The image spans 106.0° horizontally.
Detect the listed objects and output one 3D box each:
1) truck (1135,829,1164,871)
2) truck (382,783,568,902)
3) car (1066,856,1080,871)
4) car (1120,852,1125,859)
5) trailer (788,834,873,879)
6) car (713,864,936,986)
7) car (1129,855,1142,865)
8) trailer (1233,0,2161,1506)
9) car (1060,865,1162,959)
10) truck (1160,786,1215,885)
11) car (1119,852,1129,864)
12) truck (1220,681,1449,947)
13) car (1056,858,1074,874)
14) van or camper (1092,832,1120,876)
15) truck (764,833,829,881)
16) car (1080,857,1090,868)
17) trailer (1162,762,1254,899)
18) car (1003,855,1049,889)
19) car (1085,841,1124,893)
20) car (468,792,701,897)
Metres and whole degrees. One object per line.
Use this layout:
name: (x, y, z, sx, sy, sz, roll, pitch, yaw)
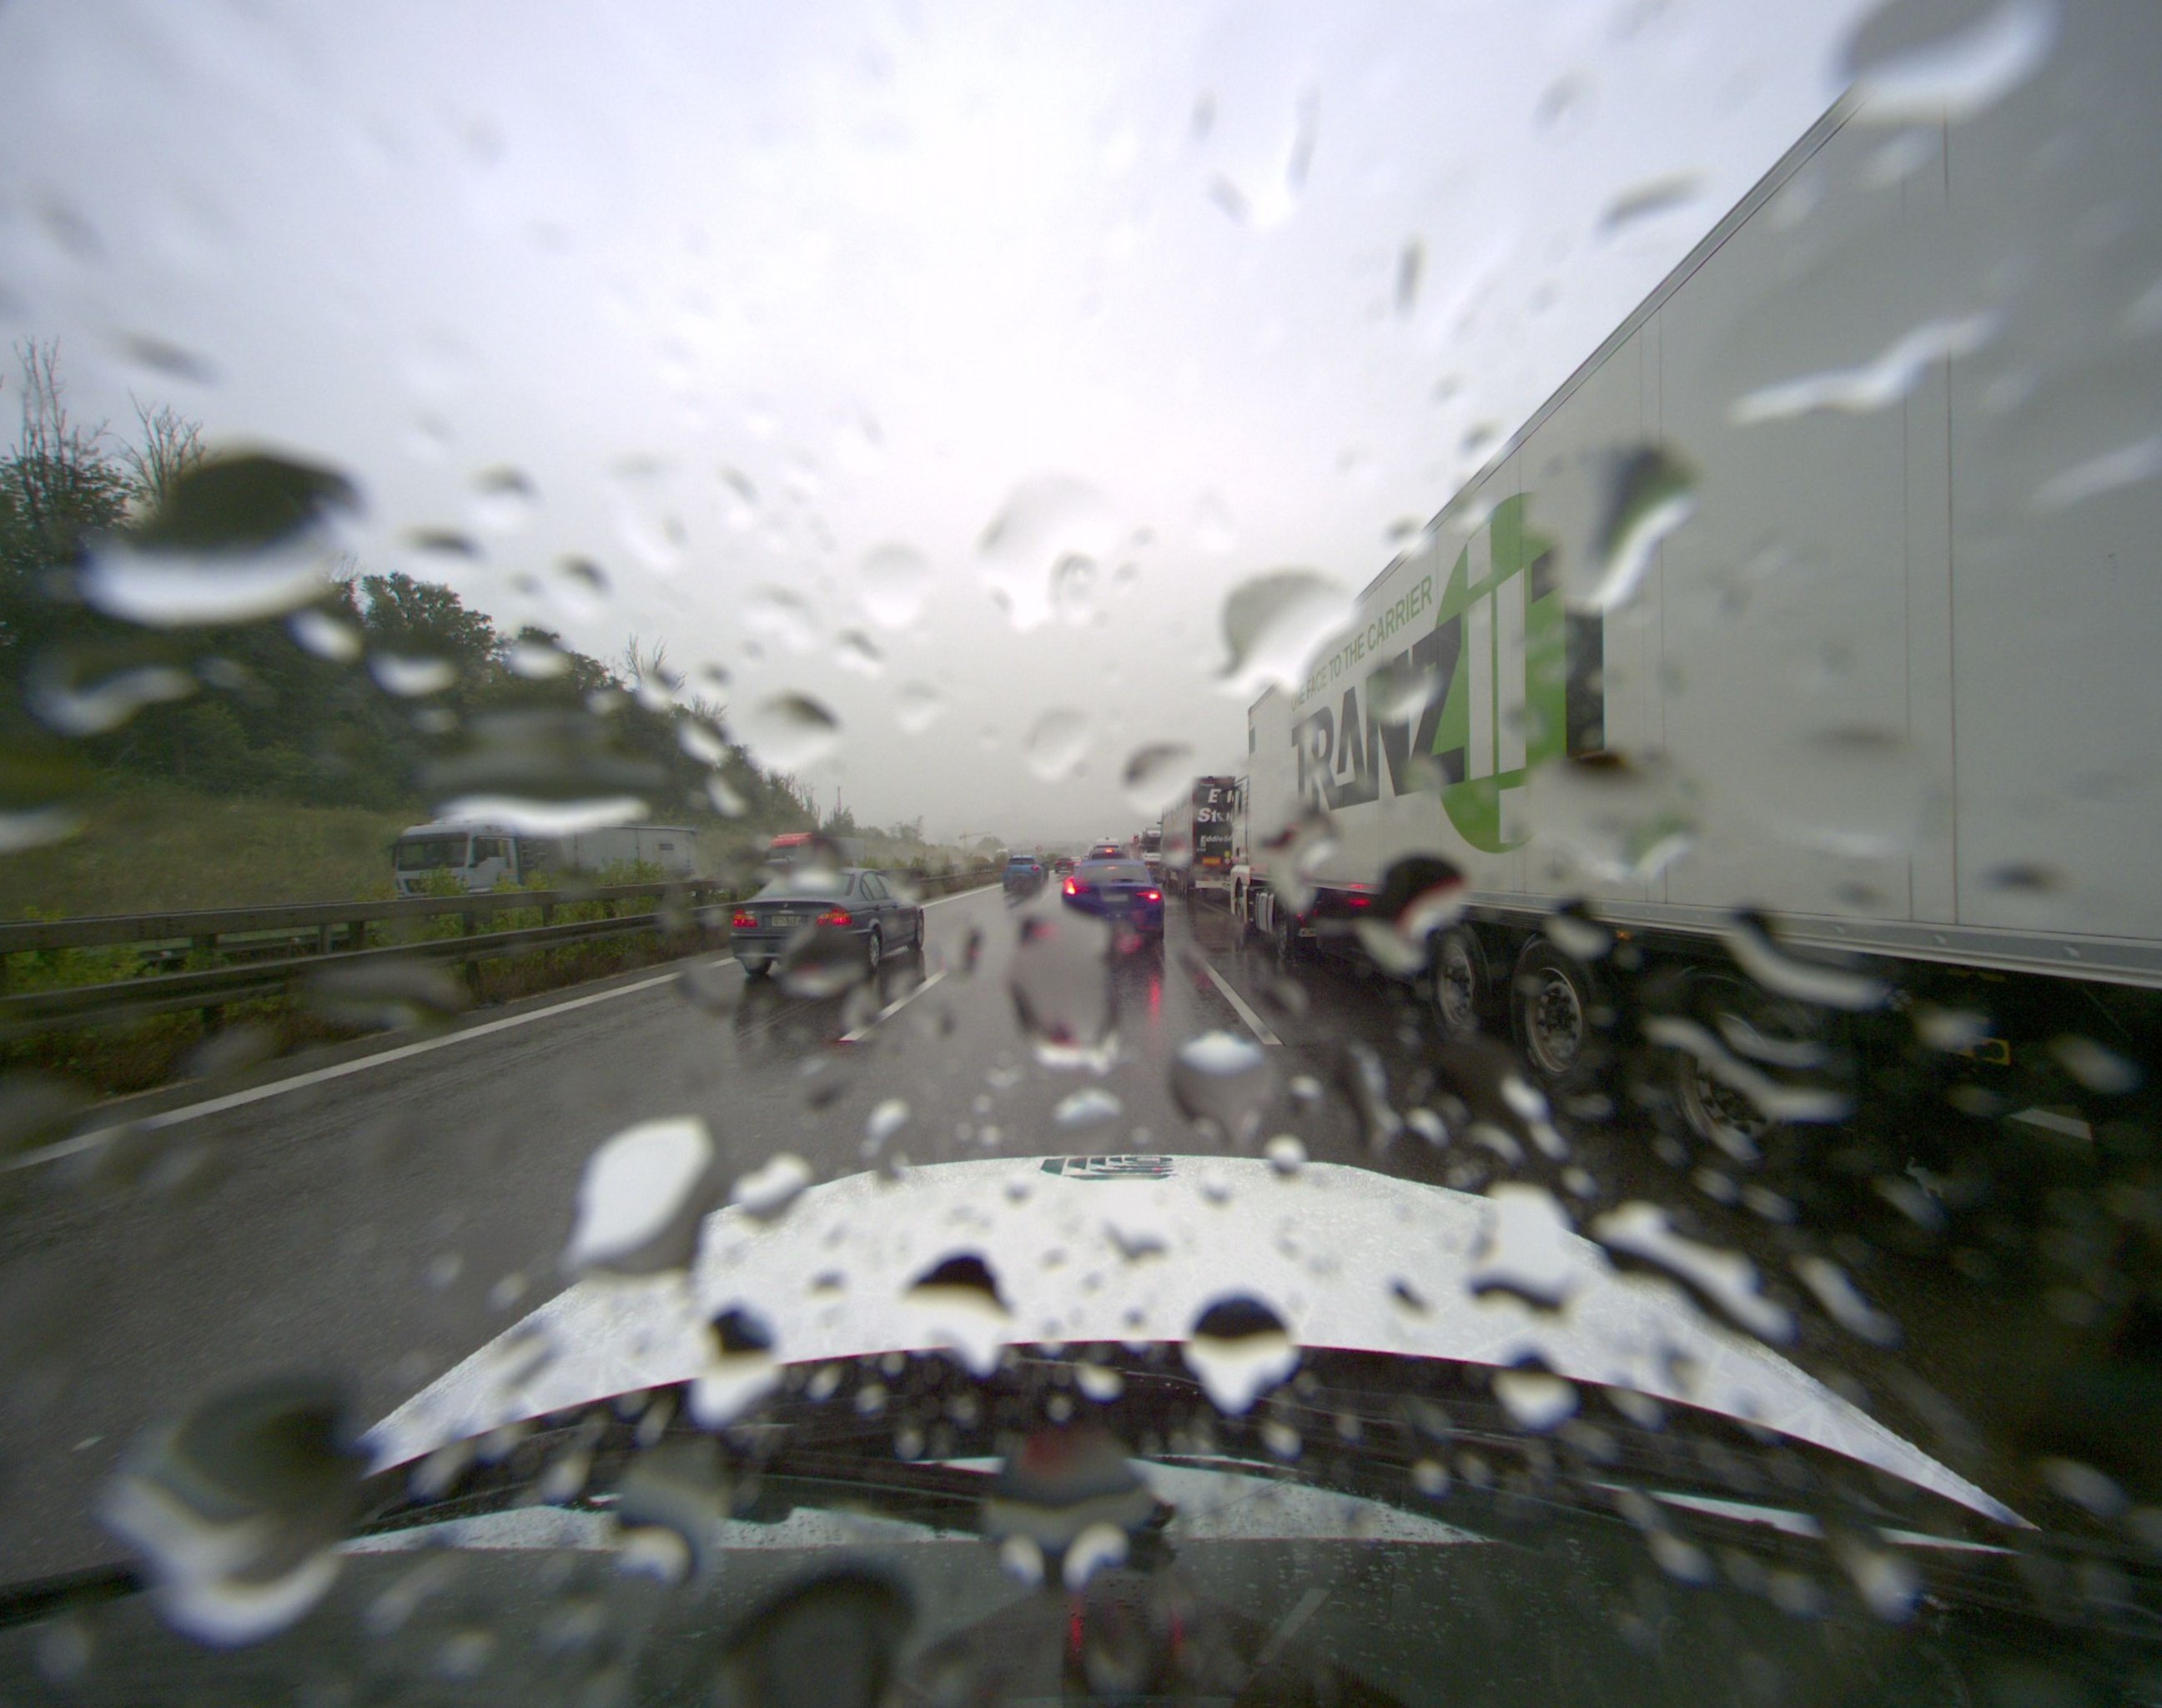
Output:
truck: (5.987, -0.385, 71.877, 1.986, 3.421, 8.033, -1, 1, 1)
truck: (-19.942, -0.338, 27.170, 2.676, 3.611, 4.606, 0, 0, 1)
car: (-0.881, 1.075, 93.270, 1.434, 1.533, 3.323, -1, 0, 2)
car: (10.970, 0.432, 215.823, 1.443, 1.784, 3.411, 0, 0, 2)
trailer: (-19.032, 0.204, 62.731, 2.675, 3.151, 11.090, 0, 0, 2)
car: (-3.473, 0.888, 11.939, 1.711, 1.400, 4.233, -1, 0, 3)
car: (7.272, 0.799, 108.526, 1.632, 1.328, 3.368, -1, 1, 2)
trailer: (3.839, -0.641, 7.501, 2.620, 4.013, 14.637, -1, 0, 2)
car: (0.579, 0.958, 15.116, 1.629, 1.445, 4.003, -1, 0, 3)
truck: (4.693, -0.792, 36.509, 2.039, 4.193, 4.002, -1, 0, 2)
car: (6.533, 0.617, 124.766, 1.443, 1.784, 3.411, 0, 0, 2)
truck: (4.093, -0.588, 14.241, 2.620, 3.827, 4.793, -1, 0, 2)
car: (-1.458, 1.070, 75.895, 1.434, 1.420, 3.323, -1, 0, 2)
van or camper: (1.723, -0.009, 55.513, 1.790, 2.806, 4.770, -1, 0, 2)
truck: (-19.311, 0.190, 55.505, 2.676, 3.151, 4.606, 0, 0, 1)
car: (0.653, 1.417, 135.398, 1.443, 1.784, 3.411, 0, 0, 2)
trailer: (4.464, -0.747, 30.678, 2.039, 4.176, 11.454, -1, 0, 2)
car: (-2.576, 0.807, 39.210, 1.714, 1.523, 4.003, -1, 0, 3)
car: (0.871, 0.452, 29.953, 1.331, 1.780, 3.323, -1, 0, 2)
car: (-19.775, -0.298, 33.705, 2.676, 3.611, 10.976, 0, 0, 1)
